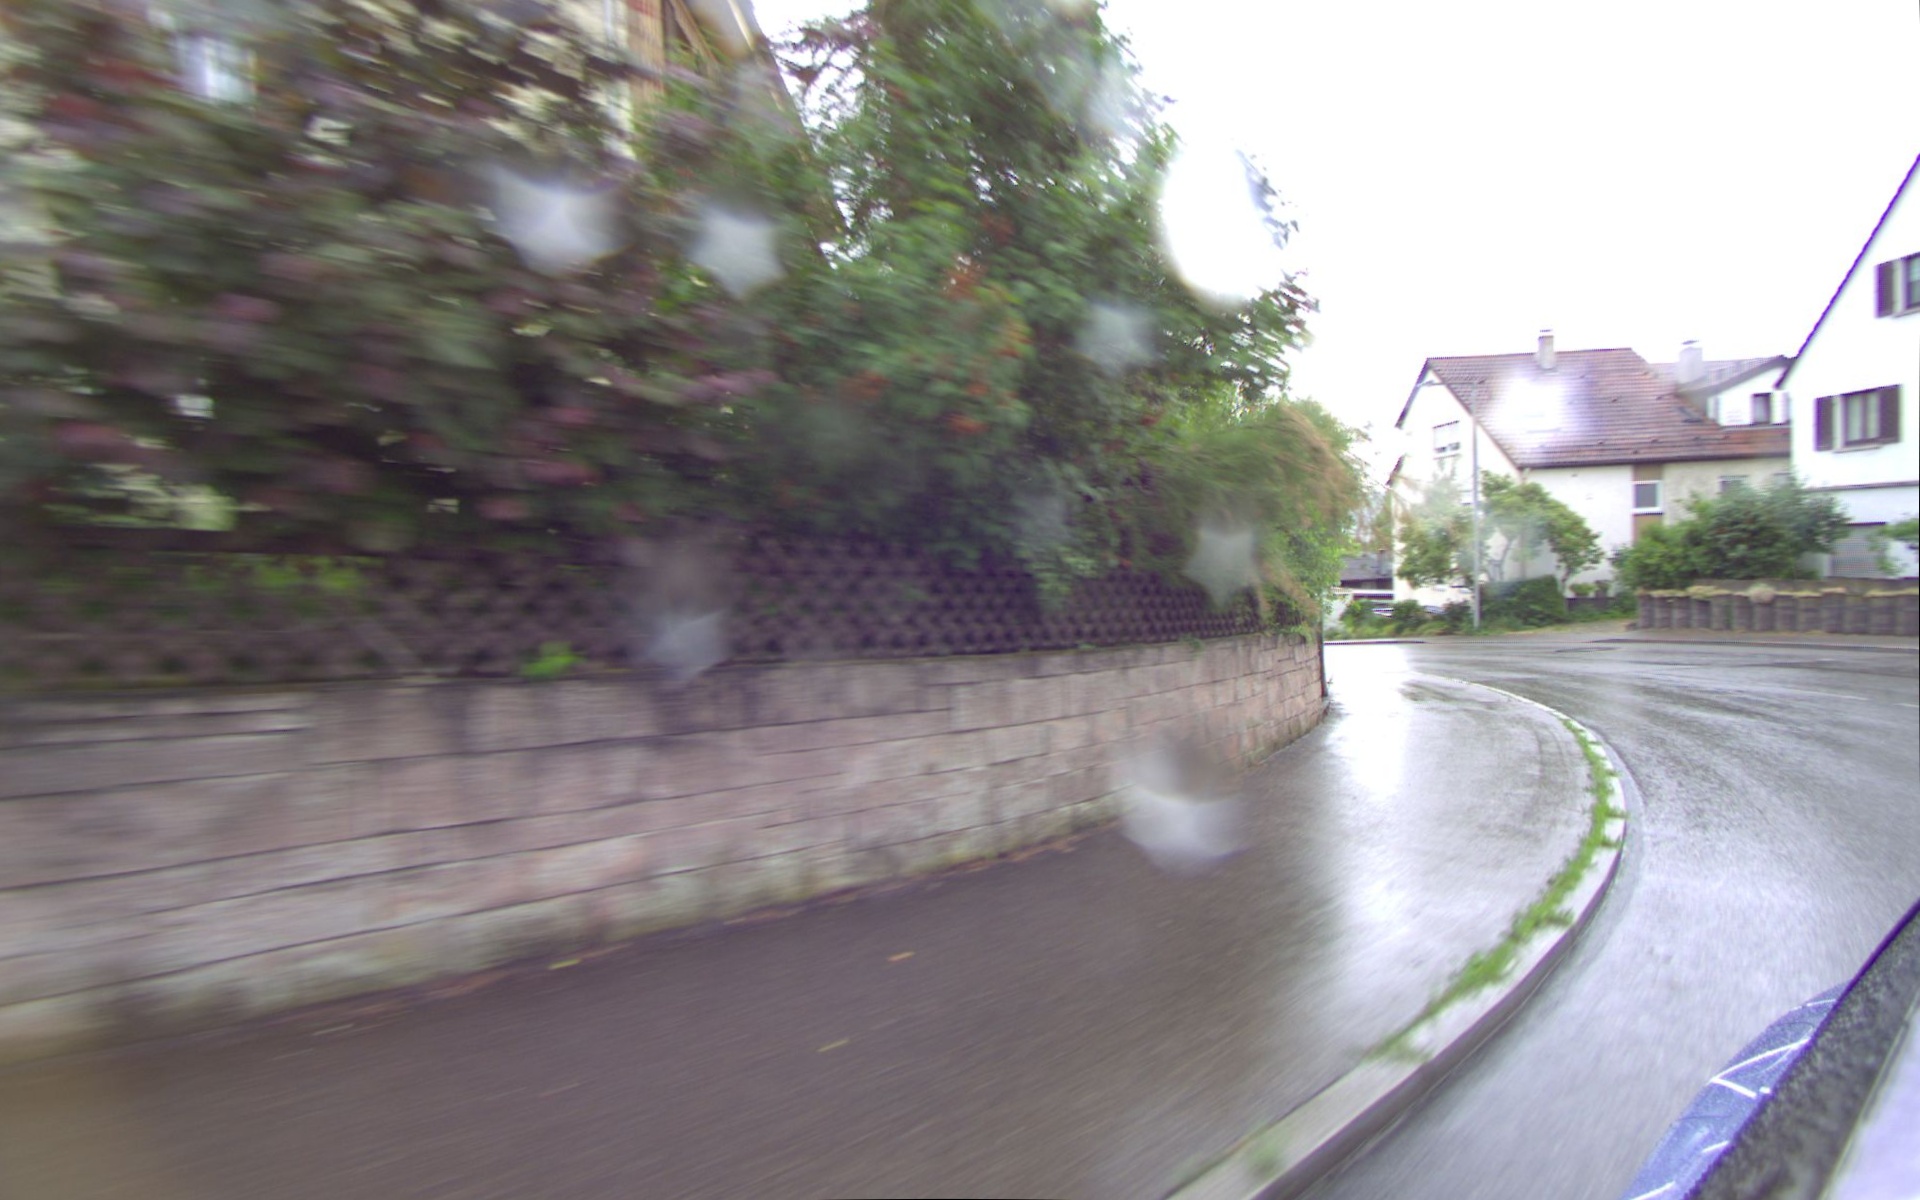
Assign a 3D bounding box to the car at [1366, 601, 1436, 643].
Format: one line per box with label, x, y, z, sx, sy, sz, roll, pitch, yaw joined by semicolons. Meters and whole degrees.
car;23.713;1.159;54.565;1.936;2.026;4.110;0;1;0
